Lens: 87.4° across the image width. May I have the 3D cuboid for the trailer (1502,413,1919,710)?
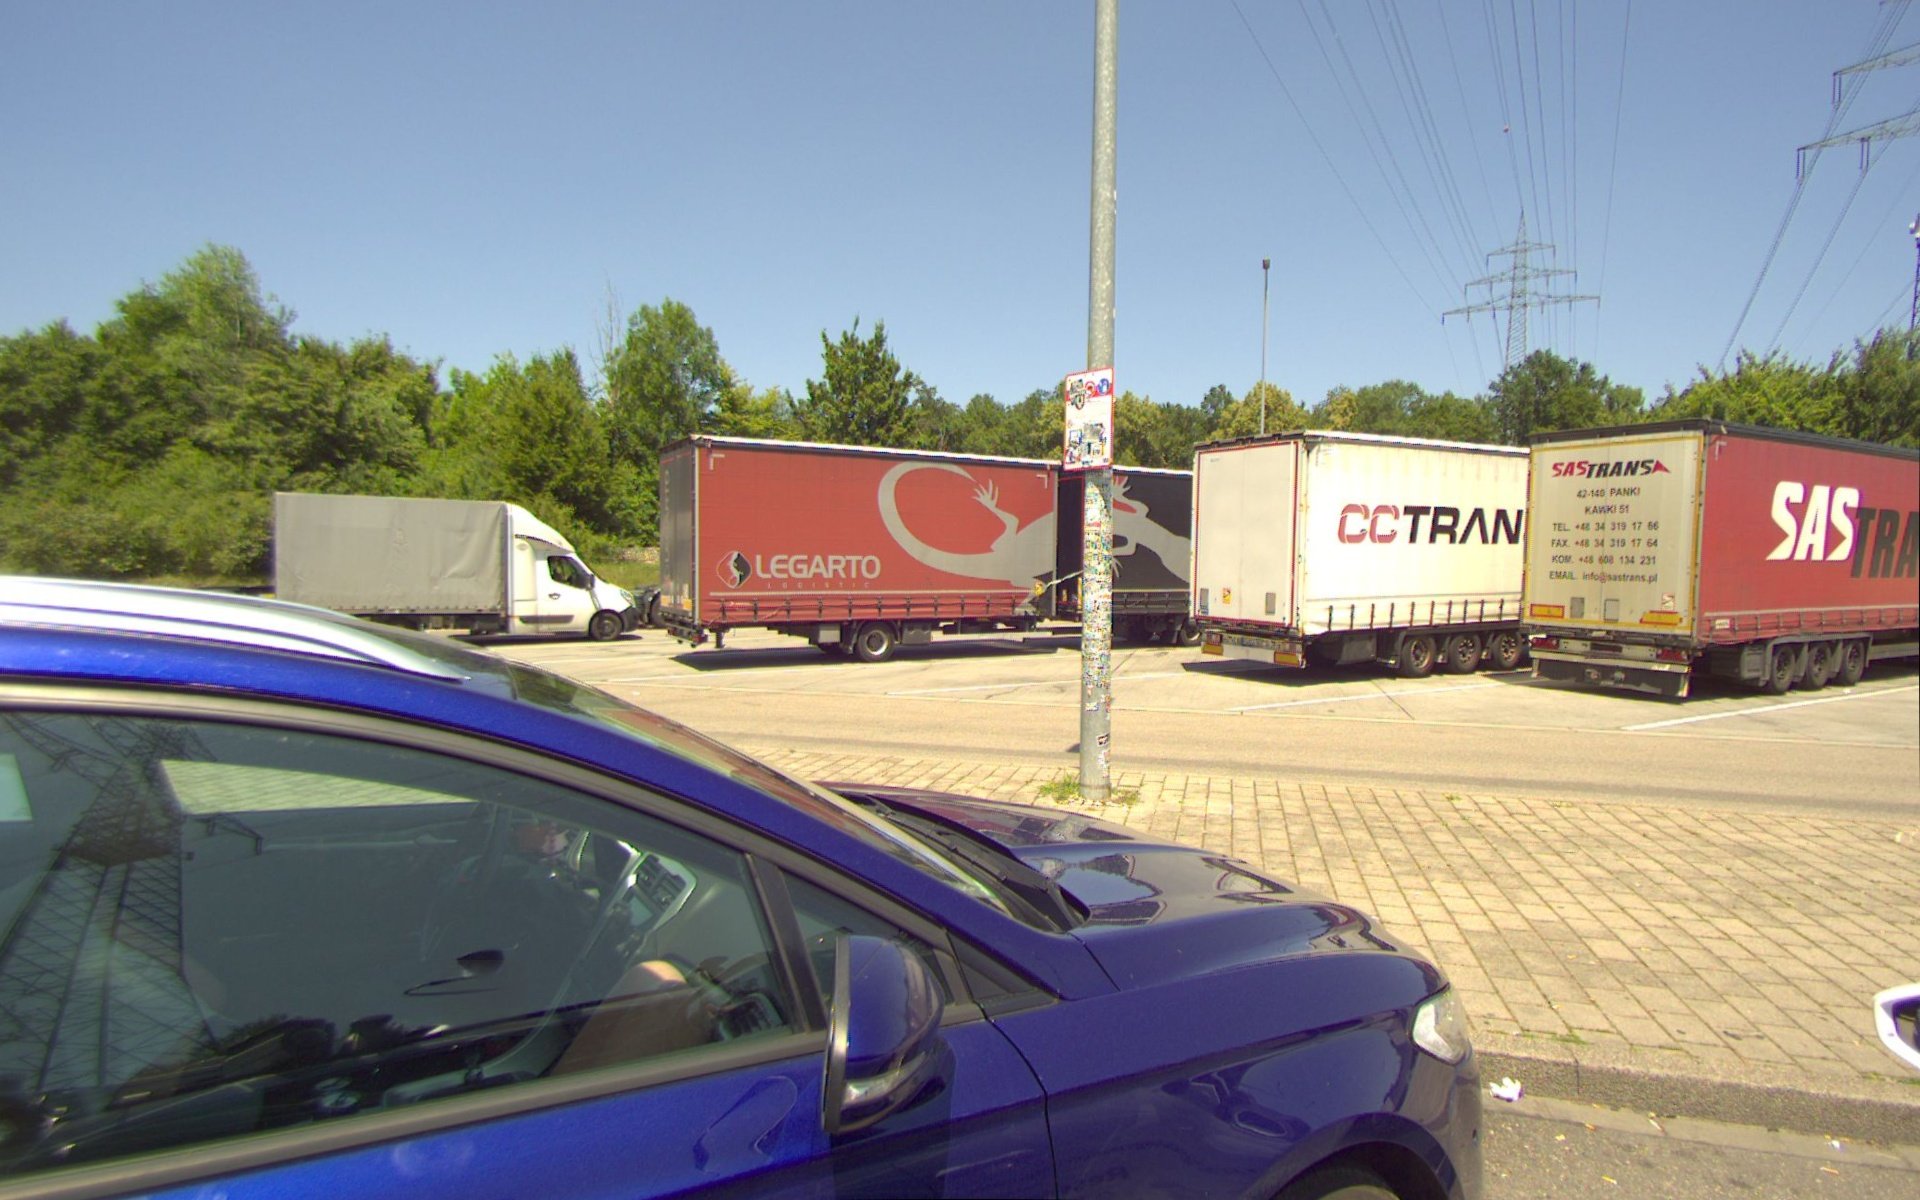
[{"bbox_3d":[15.609,-0.690,18.733,13.962,4.141,2.777,-1,3,-30],"label":"trailer"}]

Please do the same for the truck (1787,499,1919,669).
[{"bbox_3d":[21.212,-0.391,22.010,5.829,3.373,2.837,-1,3,-30],"label":"truck"}]

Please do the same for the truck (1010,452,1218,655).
[{"bbox_3d":[3.572,-1.064,23.458,3.947,4.298,2.723,-1,3,-30],"label":"truck"}]

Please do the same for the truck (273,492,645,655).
[{"bbox_3d":[-11.187,-0.622,23.034,7.204,3.279,2.727,-1,3,-29],"label":"truck"}]

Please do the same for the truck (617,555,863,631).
[{"bbox_3d":[-6.344,-0.227,29.283,6.733,2.041,1.987,-1,1,-26],"label":"truck"}]

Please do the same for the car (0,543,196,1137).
[{"bbox_3d":[-4.611,0.602,2.235,4.444,1.520,1.762,0,2,-32],"label":"car"}]

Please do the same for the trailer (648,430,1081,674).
[{"bbox_3d":[-1.741,-0.898,20.337,8.376,4.141,2.722,-1,3,-30],"label":"trailer"}]

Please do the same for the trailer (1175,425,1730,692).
[{"bbox_3d":[10.589,-0.798,20.344,13.962,4.141,2.782,-1,3,-30],"label":"trailer"}]

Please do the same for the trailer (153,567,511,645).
[{"bbox_3d":[-15.162,0.058,24.903,7.204,1.711,2.249,-1,3,-29],"label":"trailer"}]

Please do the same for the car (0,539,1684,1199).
[{"bbox_3d":[-1.035,0.679,1.502,4.444,1.511,1.859,0,2,-32],"label":"car"}]
